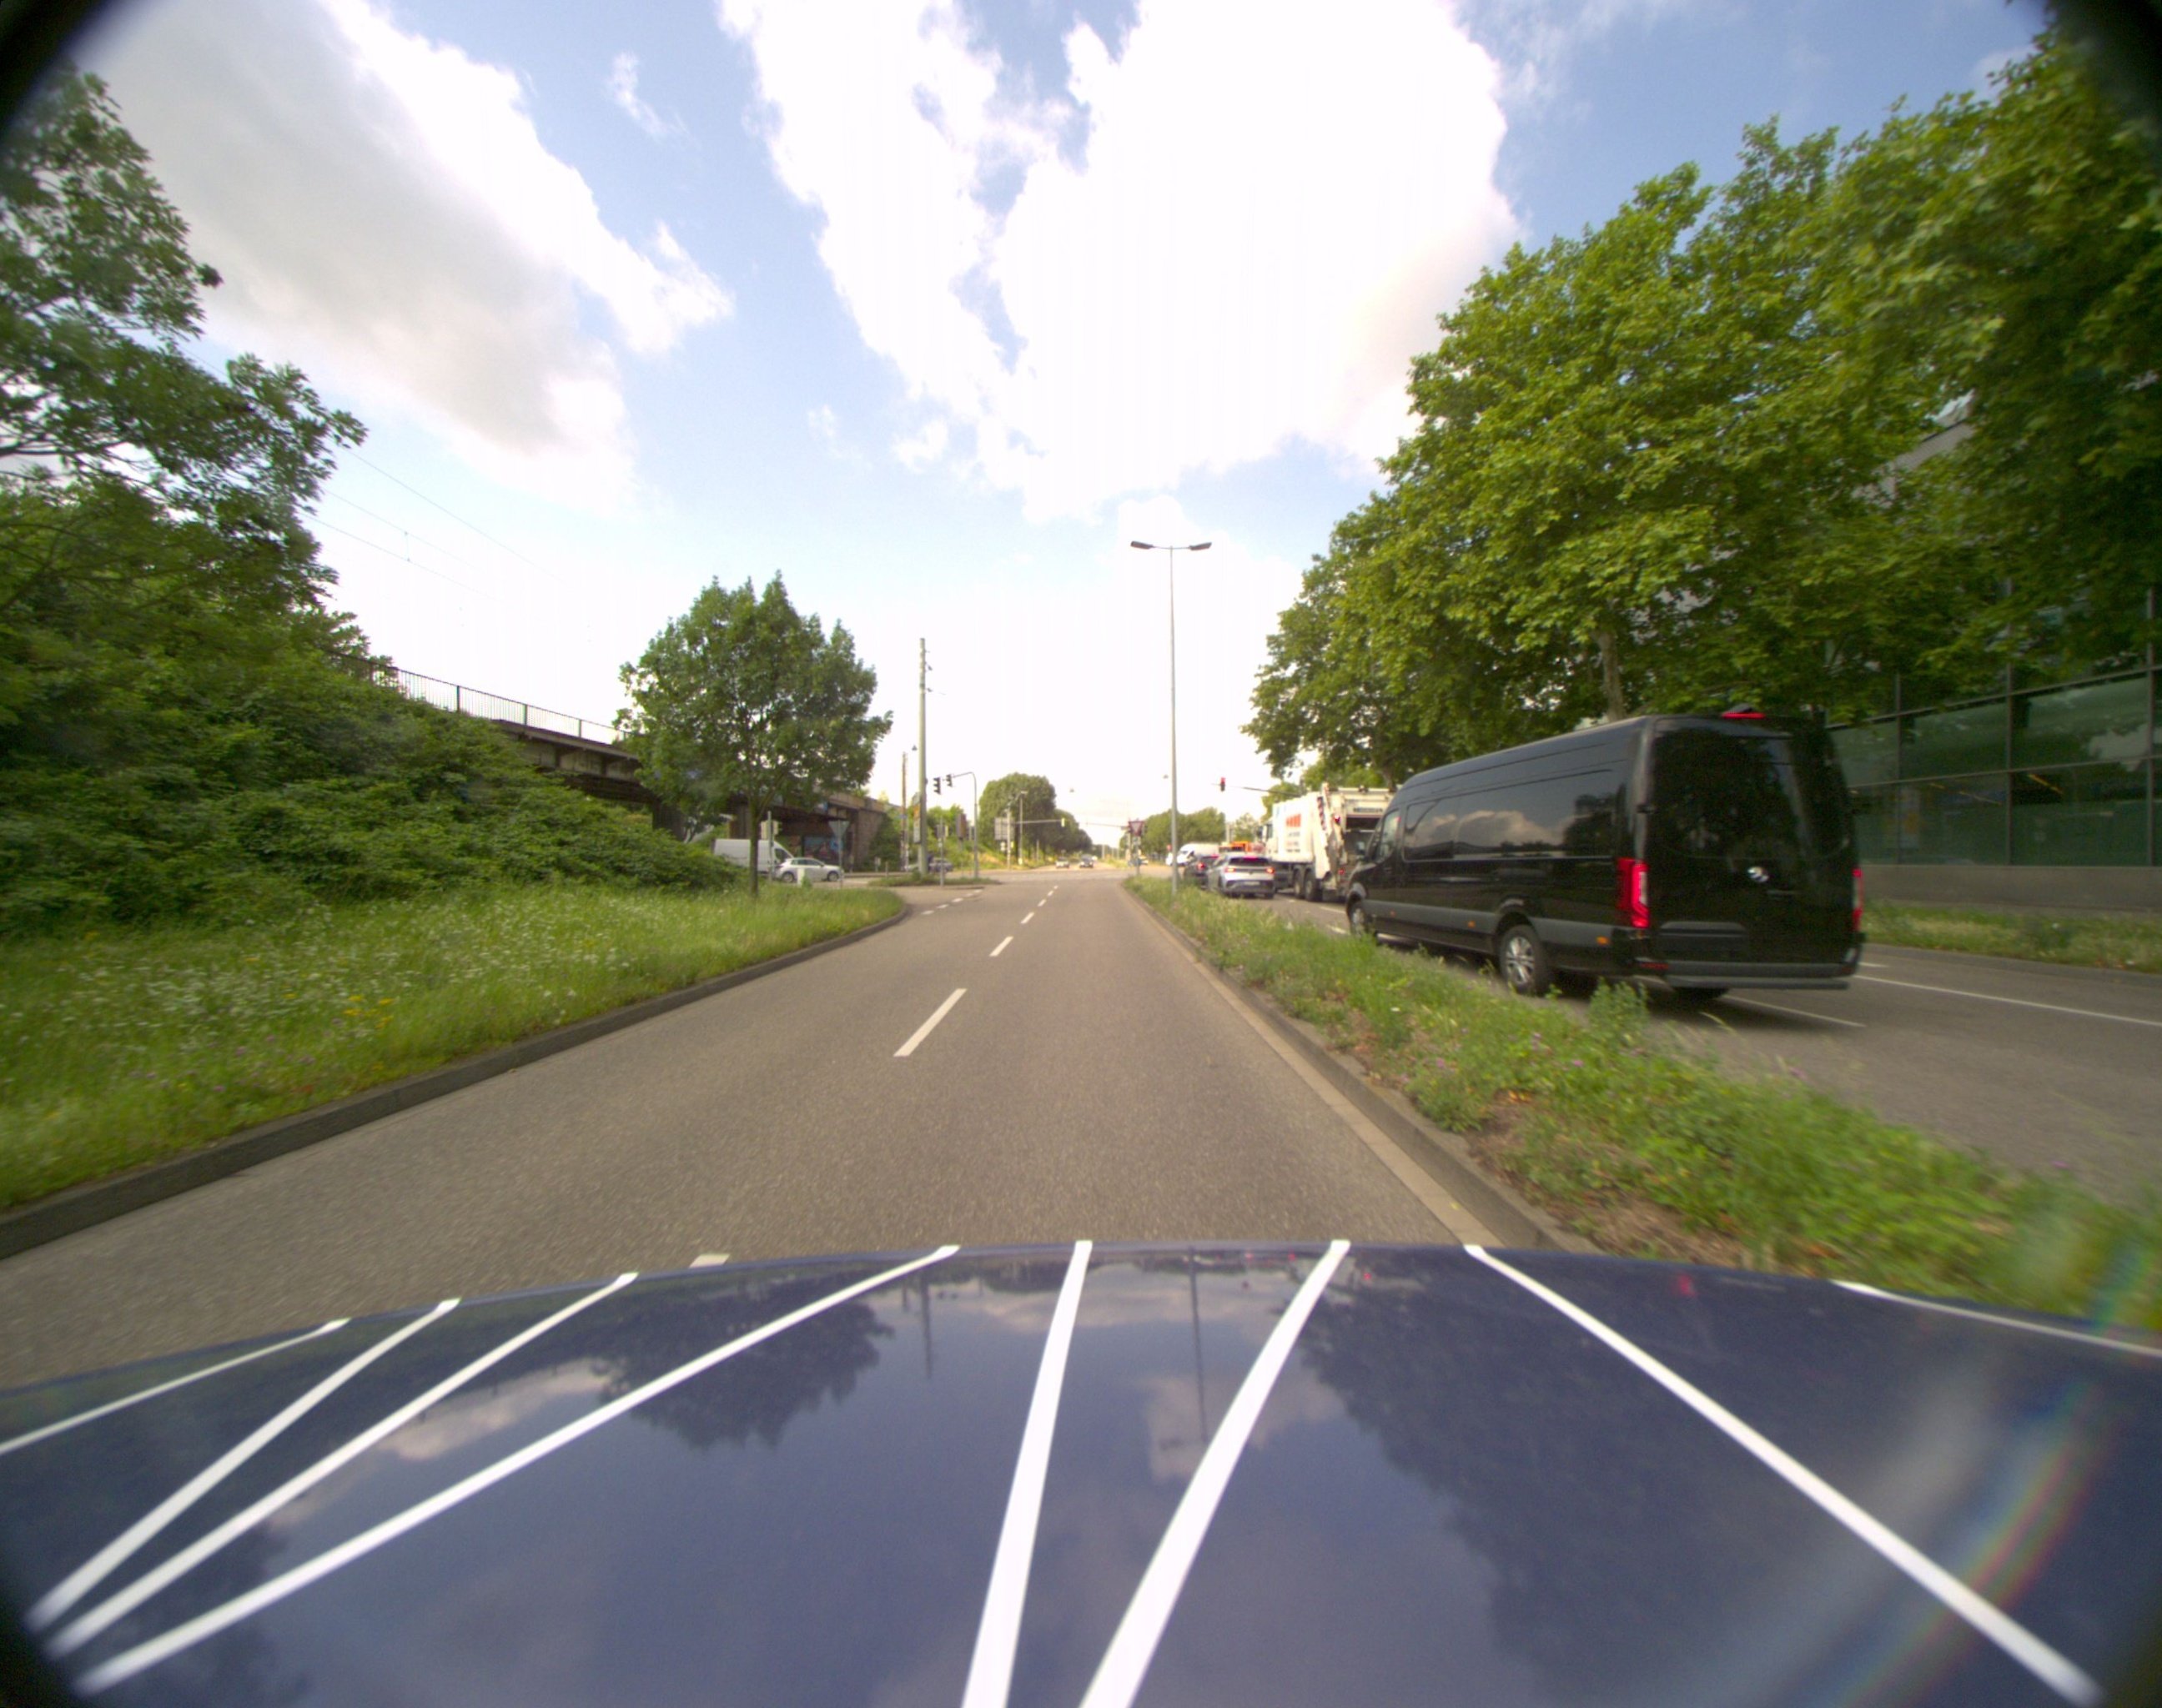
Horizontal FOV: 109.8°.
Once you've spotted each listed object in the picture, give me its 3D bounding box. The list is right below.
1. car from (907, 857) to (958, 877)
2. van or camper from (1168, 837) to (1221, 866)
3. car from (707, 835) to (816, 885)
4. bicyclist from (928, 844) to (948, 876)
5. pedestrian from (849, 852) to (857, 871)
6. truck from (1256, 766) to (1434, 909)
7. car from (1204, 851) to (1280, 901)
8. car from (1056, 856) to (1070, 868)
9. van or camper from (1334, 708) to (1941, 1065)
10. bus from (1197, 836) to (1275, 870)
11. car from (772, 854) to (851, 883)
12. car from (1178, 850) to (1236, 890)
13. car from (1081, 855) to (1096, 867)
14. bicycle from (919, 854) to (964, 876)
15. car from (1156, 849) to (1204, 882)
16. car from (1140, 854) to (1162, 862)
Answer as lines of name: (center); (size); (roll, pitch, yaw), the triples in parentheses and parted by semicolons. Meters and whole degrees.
car: (-13.360, 1.146, 68.417); (4.006, 1.456, 1.768); (-4, 2, -35)
van or camper: (12.454, -0.343, 83.298); (5.975, 2.771, 2.158); (-4, 5, -36)
car: (-19.293, 0.288, 46.014); (5.635, 2.514, 2.258); (-4, 6, -34)
bicyclist: (-7.932, 0.308, 42.166); (0.825, 1.670, 0.843); (-3, 5, -27)
pedestrian: (-20.984, 0.675, 69.923); (0.609, 1.642, 0.691); (-2, 4, -8)
truck: (8.493, -0.490, 26.146); (2.656, 3.865, 10.160); (2, 0, 1)
car: (5.500, 0.685, 26.509); (1.749, 1.544, 4.233); (2, 1, 1)
car: (-2.407, 1.005, 100.641); (1.716, 1.477, 4.000); (-1, 0, 1)
van or camper: (5.277, 0.240, 9.026); (2.110, 2.644, 6.716); (1, 0, -2)
bus: (18.746, -0.243, 91.581); (10.410, 3.448, 2.738); (-4, 5, -35)
car: (-15.762, 0.810, 44.488); (4.007, 1.468, 1.703); (-2, 2, -36)
car: (5.311, 0.631, 32.539); (1.712, 1.578, 4.361); (-1, 1, -1)
car: (0.980, 0.933, 99.004); (1.820, 1.477, 4.000); (-1, 0, 1)
bicycle: (-7.744, 0.606, 42.230); (2.321, 1.088, 0.843); (-3, 5, -27)
car: (5.096, 0.553, 39.526); (1.869, 1.565, 4.567); (-1, 1, 0)
car: (13.221, 0.787, 143.983); (3.804, 1.470, 1.746); (1, 0, -25)
